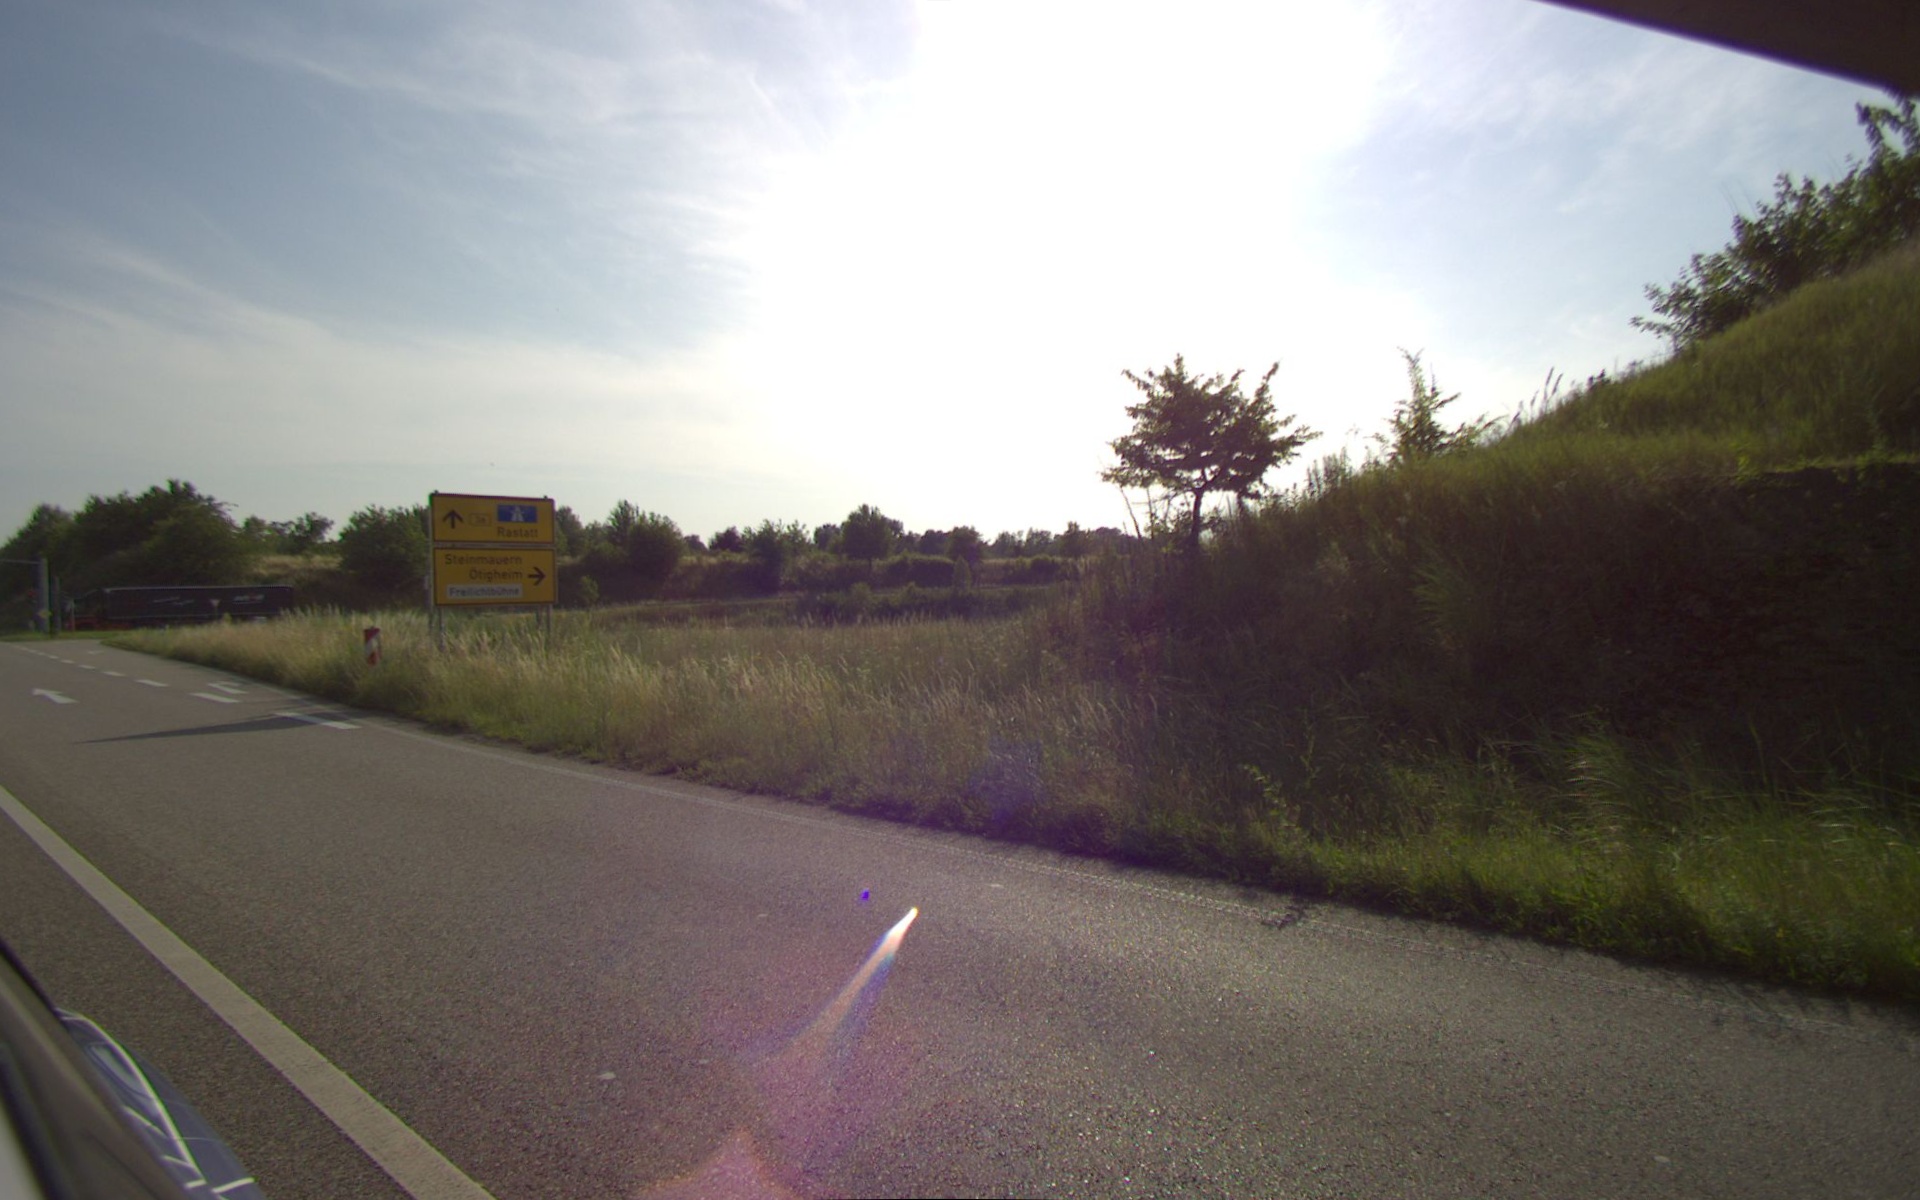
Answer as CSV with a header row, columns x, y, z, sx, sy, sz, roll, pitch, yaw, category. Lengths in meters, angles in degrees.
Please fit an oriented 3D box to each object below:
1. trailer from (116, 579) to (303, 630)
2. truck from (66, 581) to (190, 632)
x,y,z,sx,sy,sz,roll,pitch,yaw,category
-68.754,0.316,93.168,13.580,4.144,3.566,-2,1,-39,trailer
-73.313,0.486,89.438,8.267,4.144,3.566,-2,1,-39,truck
